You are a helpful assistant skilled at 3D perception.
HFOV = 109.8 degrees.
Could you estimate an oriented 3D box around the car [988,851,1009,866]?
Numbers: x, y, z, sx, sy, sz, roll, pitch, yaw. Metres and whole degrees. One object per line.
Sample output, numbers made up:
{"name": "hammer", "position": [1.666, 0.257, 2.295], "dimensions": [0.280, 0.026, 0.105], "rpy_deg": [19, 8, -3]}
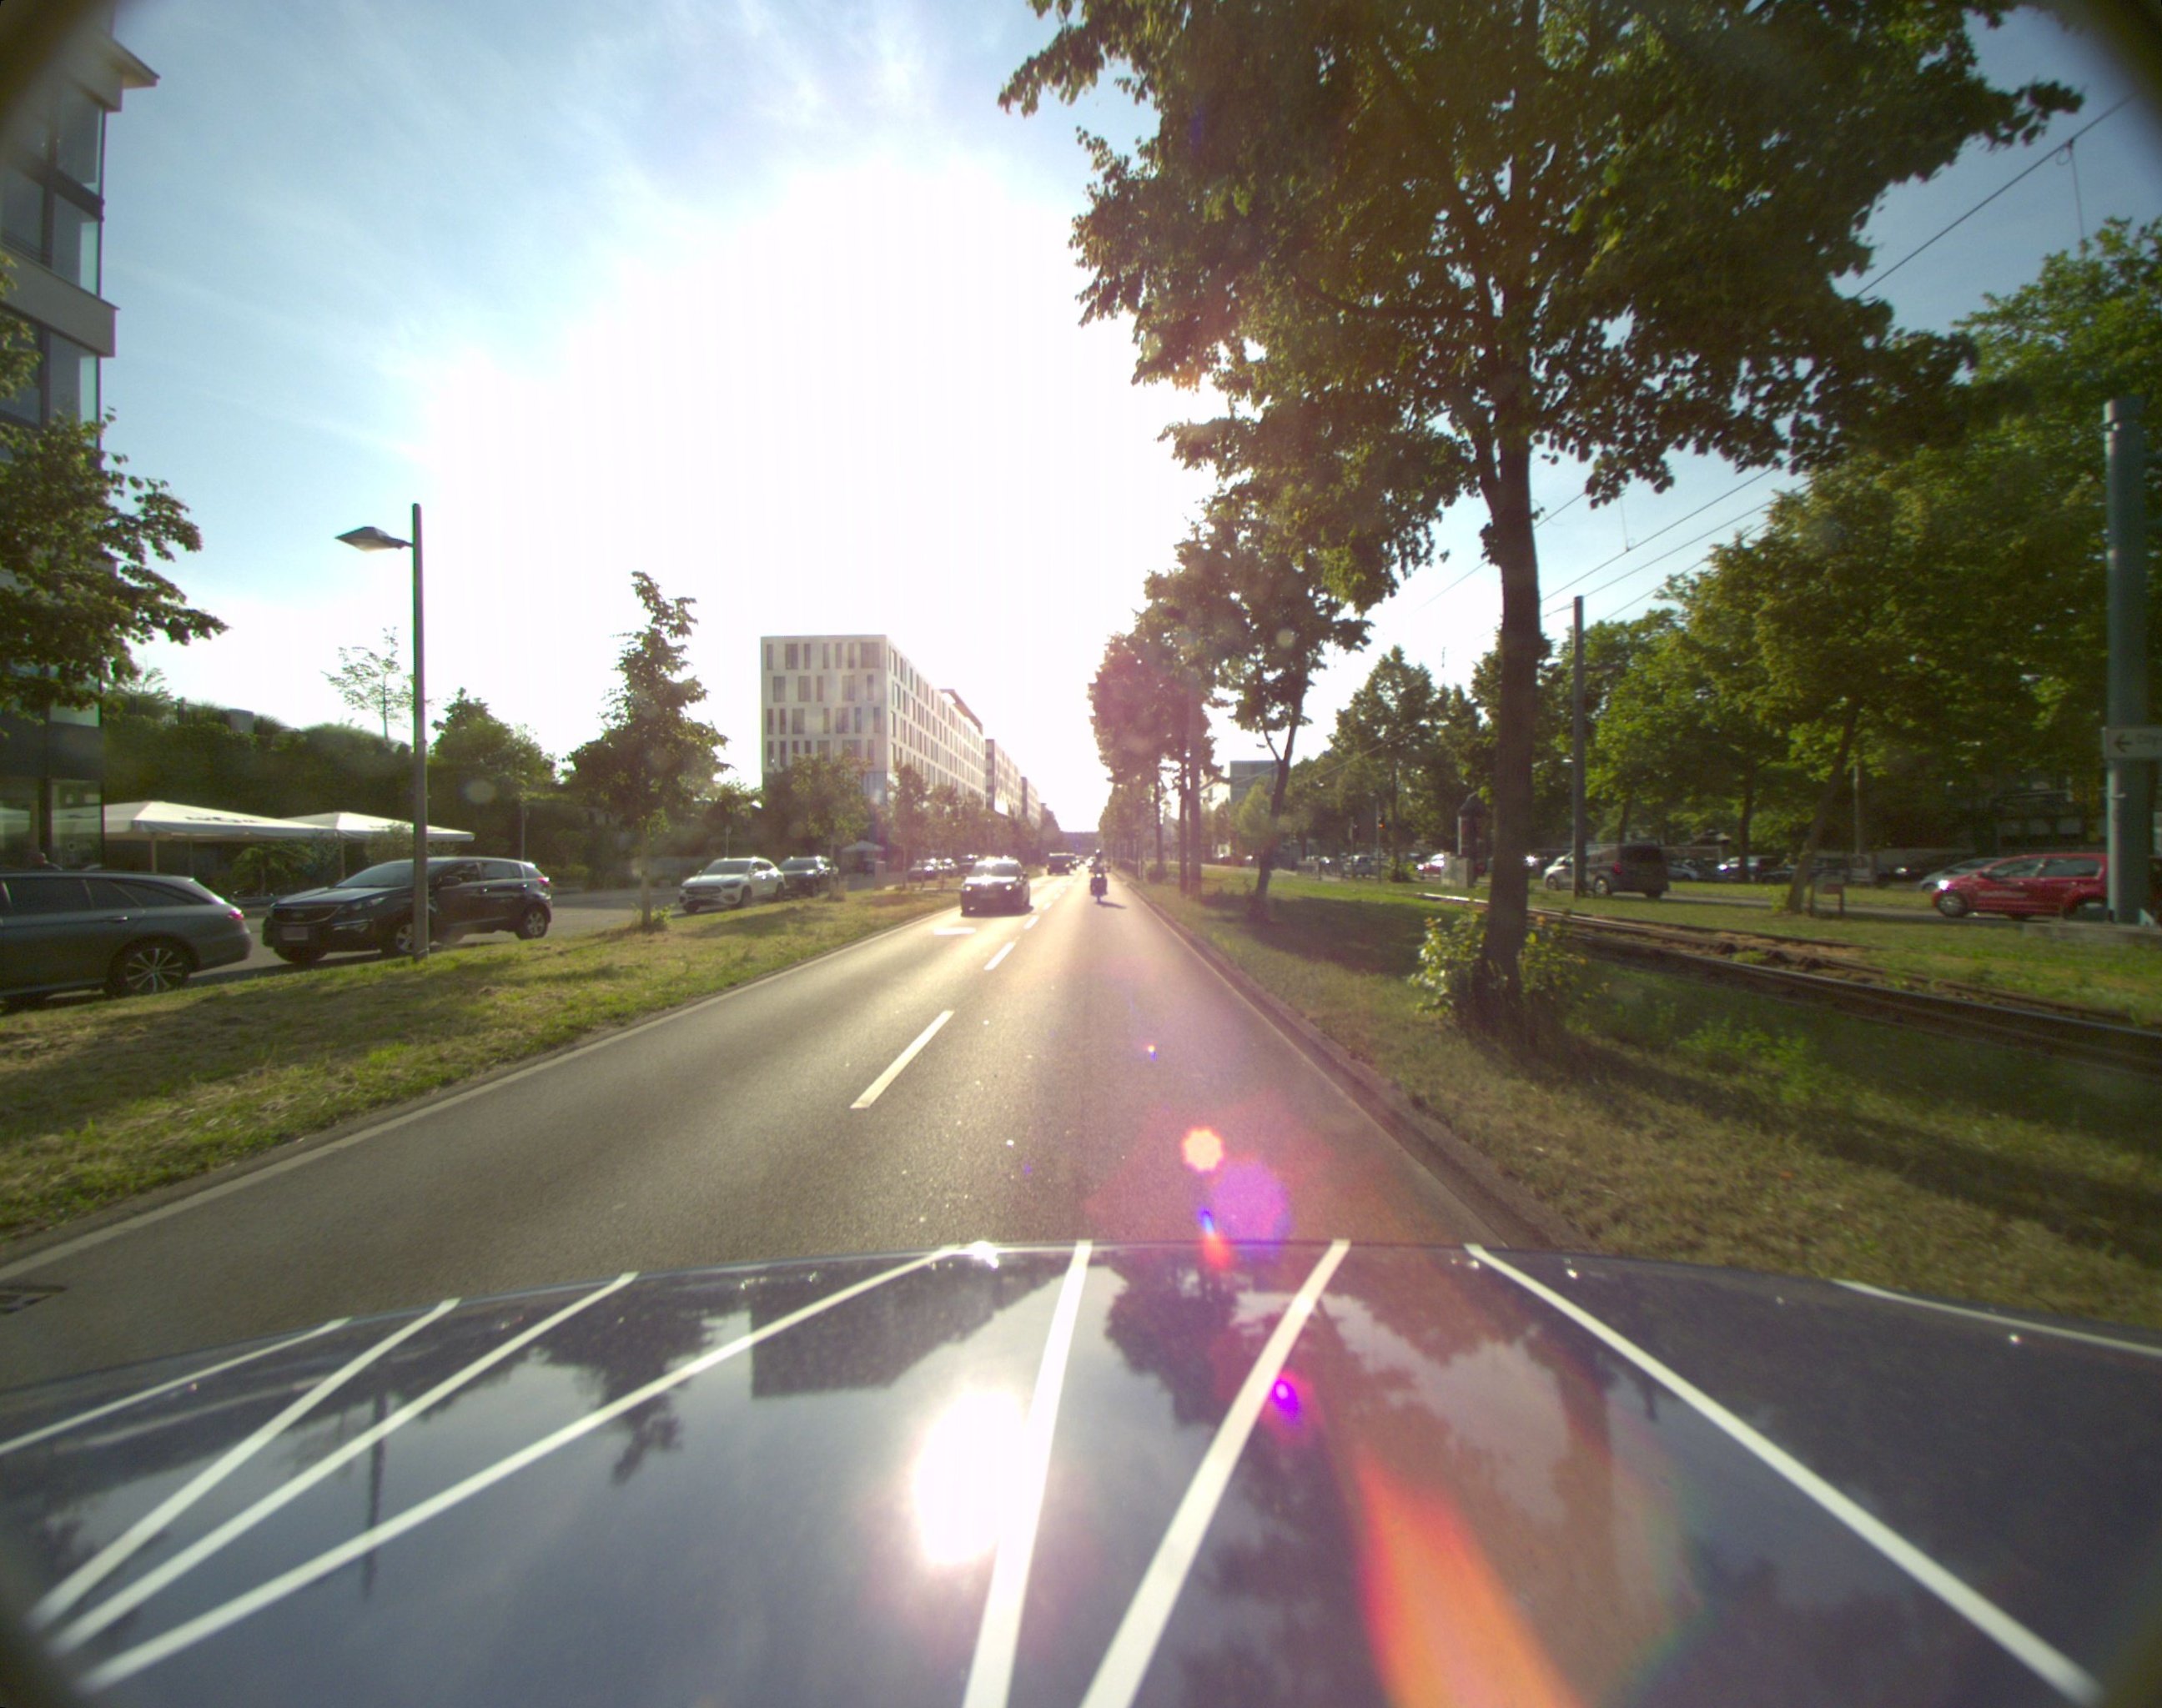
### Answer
{"name": "car", "position": [-9.742, 0.515, 89.954], "dimensions": [1.840, 1.521, 4.328], "rpy_deg": [-2, 1, 1]}

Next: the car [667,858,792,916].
{"name": "car", "position": [-10.987, 0.973, 24.117], "dimensions": [1.840, 1.521, 4.328], "rpy_deg": [-2, 1, 1]}

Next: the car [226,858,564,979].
{"name": "car", "position": [-11.327, 0.936, 13.075], "dimensions": [1.764, 1.589, 4.328], "rpy_deg": [-2, 1, 1]}

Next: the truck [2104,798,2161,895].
{"name": "truck", "position": [39.985, -0.275, 24.808], "dimensions": [2.894, 3.496, 7.946], "rpy_deg": [-2, 1, 6]}

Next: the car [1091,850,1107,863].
{"name": "car", "position": [2.156, 0.281, 91.929], "dimensions": [1.756, 1.427, 4.034], "rpy_deg": [-2, 1, -2]}

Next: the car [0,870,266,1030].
{"name": "car", "position": [-11.456, 1.020, 7.247], "dimensions": [1.764, 1.479, 4.920], "rpy_deg": [-2, 1, 4]}

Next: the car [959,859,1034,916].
{"name": "car", "position": [-2.461, 0.952, 23.002], "dimensions": [1.698, 1.416, 4.039], "rpy_deg": [-2, 1, 1]}

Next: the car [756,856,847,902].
{"name": "car", "position": [-10.901, 0.914, 29.993], "dimensions": [1.840, 1.521, 4.328], "rpy_deg": [-2, 1, 1]}

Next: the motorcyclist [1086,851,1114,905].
{"name": "motorcyclist", "position": [0.608, 0.756, 24.653], "dimensions": [0.814, 1.700, 0.843], "rpy_deg": [-2, 1, 0]}

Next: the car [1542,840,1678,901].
{"name": "car", "position": [17.826, 0.479, 25.860], "dimensions": [1.685, 1.854, 4.218], "rpy_deg": [-2, 1, 1]}

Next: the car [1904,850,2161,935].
{"name": "car", "position": [20.404, 0.708, 16.112], "dimensions": [1.685, 1.515, 3.929], "rpy_deg": [-1, 1, 1]}

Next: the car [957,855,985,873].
{"name": "car", "position": [-10.117, 0.896, 70.150], "dimensions": [1.840, 1.521, 4.328], "rpy_deg": [-2, 1, 1]}

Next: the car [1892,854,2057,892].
{"name": "car", "position": [30.096, 0.600, 25.759], "dimensions": [1.301, 1.101, 3.772], "rpy_deg": [-2, 1, 4]}

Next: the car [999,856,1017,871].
{"name": "car", "position": [-9.381, 1.241, 98.013], "dimensions": [1.740, 1.777, 3.893], "rpy_deg": [-2, 1, 1]}

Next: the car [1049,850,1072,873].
{"name": "car", "position": [-1.780, 0.666, 68.070], "dimensions": [1.803, 1.881, 4.820], "rpy_deg": [-2, 1, 1]}

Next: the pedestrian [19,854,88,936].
{"name": "pedestrian", "position": [-20.734, 0.814, 15.335], "dimensions": [0.499, 1.591, 0.572], "rpy_deg": [-2, 1, 1]}

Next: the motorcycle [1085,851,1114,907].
{"name": "motorcycle", "position": [0.585, 0.763, 24.675], "dimensions": [0.798, 1.659, 2.634], "rpy_deg": [-2, 1, 0]}

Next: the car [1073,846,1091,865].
{"name": "car", "position": [0.152, 0.128, 88.081], "dimensions": [1.909, 2.002, 4.000], "rpy_deg": [-2, 1, 1]}

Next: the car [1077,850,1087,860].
{"name": "car", "position": [0.167, 0.240, 143.427], "dimensions": [1.740, 1.777, 3.893], "rpy_deg": [-2, 1, 2]}

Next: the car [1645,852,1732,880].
{"name": "car", "position": [31.309, 0.587, 39.293], "dimensions": [1.456, 1.275, 3.783], "rpy_deg": [-2, 1, 1]}

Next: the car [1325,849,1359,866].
{"name": "car", "position": [22.664, 0.282, 66.035], "dimensions": [1.788, 1.439, 3.958], "rpy_deg": [-2, 0, 4]}

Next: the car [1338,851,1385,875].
{"name": "car", "position": [18.182, 0.569, 49.402], "dimensions": [1.685, 1.364, 3.957], "rpy_deg": [-2, 1, 2]}

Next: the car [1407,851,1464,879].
{"name": "car", "position": [20.901, 0.614, 44.972], "dimensions": [1.685, 1.439, 3.958], "rpy_deg": [-2, 1, 4]}

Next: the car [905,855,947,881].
{"name": "car", "position": [-10.459, 0.914, 51.700], "dimensions": [1.840, 1.521, 4.328], "rpy_deg": [-2, 1, 1]}
